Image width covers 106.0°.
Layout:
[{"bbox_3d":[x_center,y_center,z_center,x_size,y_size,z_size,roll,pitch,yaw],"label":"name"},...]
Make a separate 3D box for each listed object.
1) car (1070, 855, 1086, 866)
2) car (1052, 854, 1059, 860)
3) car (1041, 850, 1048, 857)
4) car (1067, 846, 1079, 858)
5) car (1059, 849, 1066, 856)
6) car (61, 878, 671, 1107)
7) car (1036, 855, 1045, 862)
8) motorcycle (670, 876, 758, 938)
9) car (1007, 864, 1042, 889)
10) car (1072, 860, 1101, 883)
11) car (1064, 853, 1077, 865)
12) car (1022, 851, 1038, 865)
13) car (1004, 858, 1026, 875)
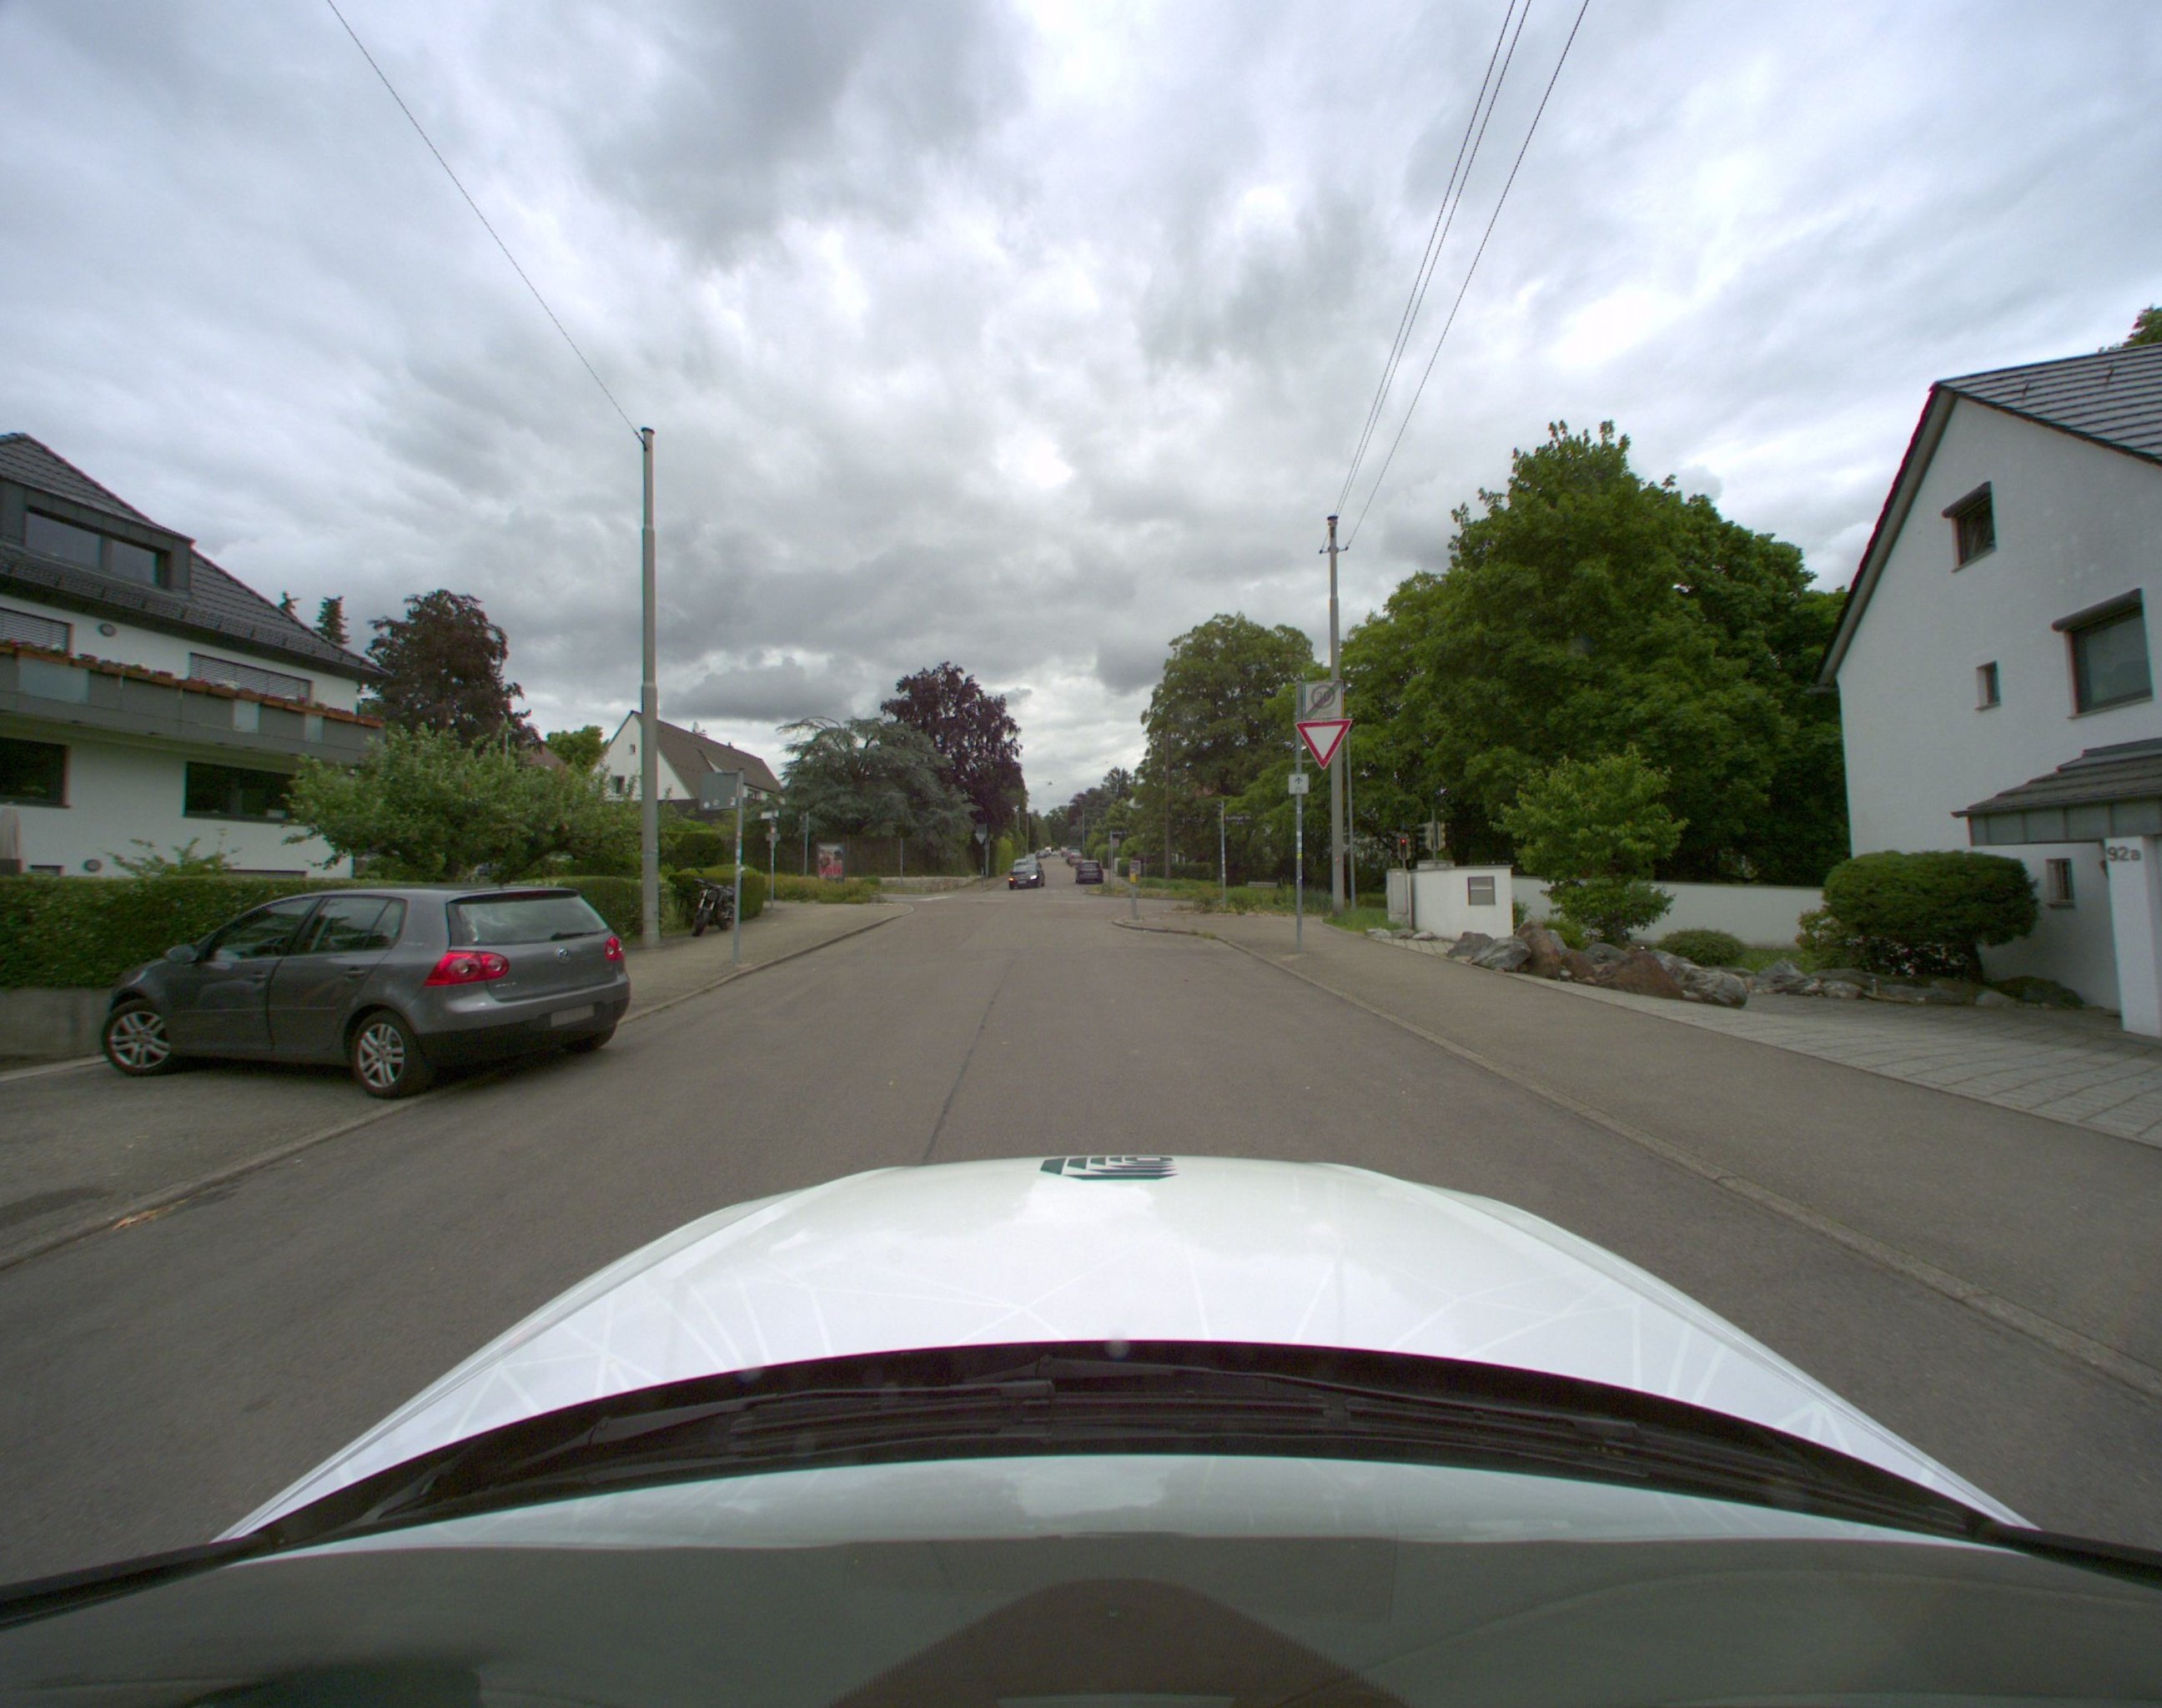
[{"bbox_3d":[-0.428,0.767,99.726,1.806,1.335,3.629,0,1,-3],"label":"car"},{"bbox_3d":[-7.121,0.835,225.425,1.989,1.882,3.996,1,0,-2],"label":"car"},{"bbox_3d":[-9.522,-0.081,211.322,1.813,1.882,3.996,1,0,-2],"label":"car"},{"bbox_3d":[-1.247,-0.306,120.753,1.630,1.701,3.491,0,0,-2],"label":"car"},{"bbox_3d":[-4.359,-0.327,195.625,1.630,1.701,3.491,0,0,-2],"label":"car"},{"bbox_3d":[-5.764,0.966,6.736,3.958,1.444,1.834,-1,0,14],"label":"car"},{"bbox_3d":[-8.170,0.827,164.304,1.622,1.386,3.595,1,0,-2],"label":"car"},{"bbox_3d":[-7.555,1.053,16.919,0.727,1.116,2.621,0,0,-2],"label":"motorcycle"},{"bbox_3d":[-3.476,1.362,50.741,1.722,1.407,3.805,-1,0,2],"label":"car"},{"bbox_3d":[0.339,1.187,56.236,1.774,1.489,3.996,1,0,-3],"label":"car"},{"bbox_3d":[-1.375,0.605,108.627,1.784,1.529,3.733,-1,0,0],"label":"car"},{"bbox_3d":[-6.452,0.486,103.446,1.706,1.586,3.999,-1,1,-1],"label":"car"},{"bbox_3d":[-6.137,1.148,75.988,1.705,1.586,4.001,-1,0,1],"label":"car"}]
